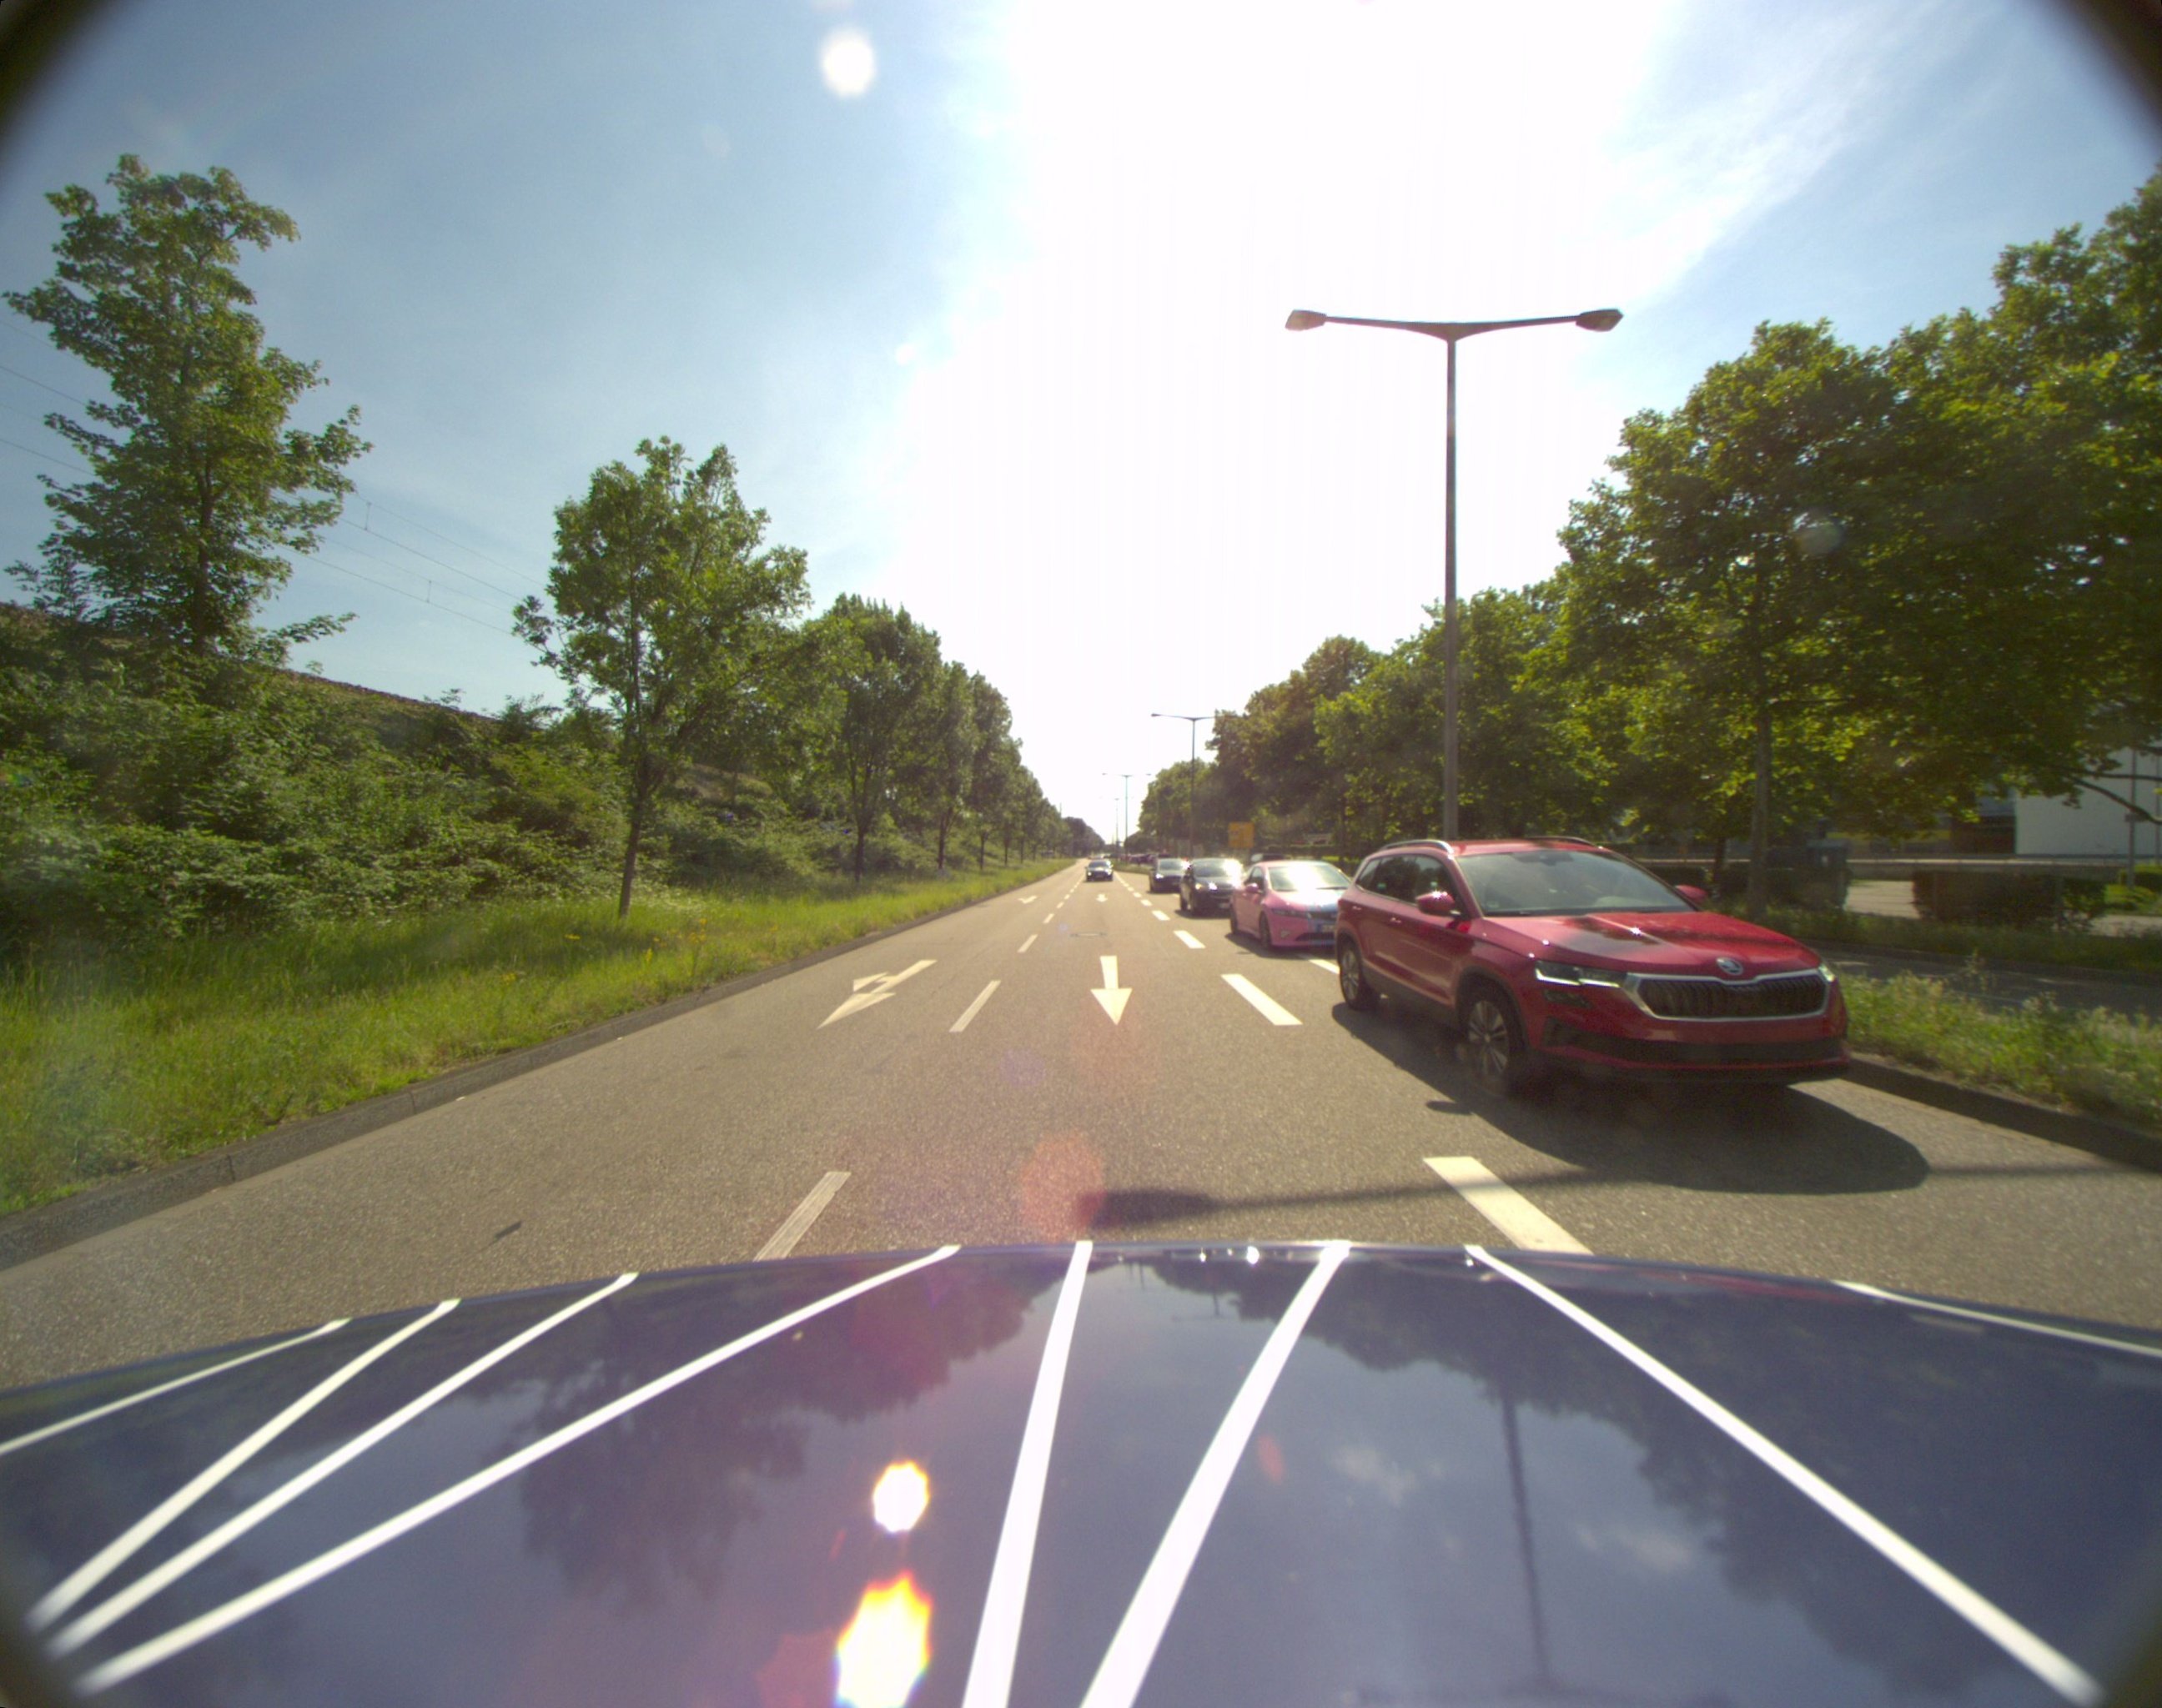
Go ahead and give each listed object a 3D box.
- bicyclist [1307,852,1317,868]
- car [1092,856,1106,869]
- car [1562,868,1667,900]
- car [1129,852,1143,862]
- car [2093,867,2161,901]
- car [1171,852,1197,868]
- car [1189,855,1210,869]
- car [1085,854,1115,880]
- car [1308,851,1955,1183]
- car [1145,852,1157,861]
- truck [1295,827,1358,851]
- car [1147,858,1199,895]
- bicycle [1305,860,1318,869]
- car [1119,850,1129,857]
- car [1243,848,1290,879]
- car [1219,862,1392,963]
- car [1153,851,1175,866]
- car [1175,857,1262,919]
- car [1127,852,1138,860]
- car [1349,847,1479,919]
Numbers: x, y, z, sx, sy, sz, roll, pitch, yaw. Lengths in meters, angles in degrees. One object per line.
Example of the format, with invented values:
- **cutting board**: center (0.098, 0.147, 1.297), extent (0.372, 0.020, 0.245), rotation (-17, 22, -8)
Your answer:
- **bicyclist**: center (22.632, 0.591, 74.358), extent (0.683, 1.476, 0.942), rotation (0, 1, 1)
- **car**: center (2.528, 1.187, 109.075), extent (1.855, 1.752, 4.313), rotation (0, 0, -1)
- **car**: center (26.369, 1.456, 37.619), extent (3.998, 1.406, 1.804), rotation (-1, 1, -4)
- **car**: center (8.270, 0.467, 114.403), extent (1.773, 1.460, 4.282), rotation (0, 0, -2)
- **car**: center (50.109, 1.361, 34.906), extent (3.992, 1.495, 1.808), rotation (-1, -2, 17)
- **car**: center (10.254, 0.593, 75.725), extent (1.998, 1.522, 4.682), rotation (1, 0, 1)
- **car**: center (13.237, 0.859, 85.174), extent (1.791, 1.390, 4.358), rotation (1, 1, 1)
- **car**: center (1.265, 0.887, 52.563), extent (1.998, 1.699, 4.431), rotation (0, 0, 1)
- **car**: center (3.365, 0.801, 5.991), extent (1.787, 1.583, 4.593), rotation (-1, 0, 1)
- **car**: center (12.661, 0.460, 137.824), extent (1.767, 1.454, 4.000), rotation (1, 0, 1)
- **truck**: center (35.682, -2.073, 110.937), extent (2.678, 3.376, 8.965), rotation (-1, 0, -35)
- **car**: center (4.040, 0.956, 33.987), extent (1.826, 1.498, 4.216), rotation (-1, 0, 1)
- **bicycle**: center (22.632, 1.048, 74.531), extent (0.691, 0.861, 1.926), rotation (0, 0, 1)
- **car**: center (8.704, -0.112, 153.321), extent (1.777, 1.459, 4.671), rotation (1, 0, 1)
- **car**: center (12.545, 0.611, 51.630), extent (1.998, 2.002, 5.213), rotation (0, 0, 1)
- **car**: center (3.688, 0.881, 13.340), extent (1.706, 1.382, 4.472), rotation (-2, 0, 1)
- **car**: center (10.592, 0.584, 97.206), extent (2.122, 1.872, 5.419), rotation (1, 0, 0)
- **car**: center (3.608, 0.844, 20.635), extent (1.630, 1.474, 4.048), rotation (-2, 0, 1)
- **car**: center (9.473, 0.418, 140.942), extent (1.844, 1.470, 4.166), rotation (0, 0, 1)
- **car**: center (8.867, 0.694, 20.683), extent (1.867, 1.740, 4.401), rotation (0, 0, 4)
